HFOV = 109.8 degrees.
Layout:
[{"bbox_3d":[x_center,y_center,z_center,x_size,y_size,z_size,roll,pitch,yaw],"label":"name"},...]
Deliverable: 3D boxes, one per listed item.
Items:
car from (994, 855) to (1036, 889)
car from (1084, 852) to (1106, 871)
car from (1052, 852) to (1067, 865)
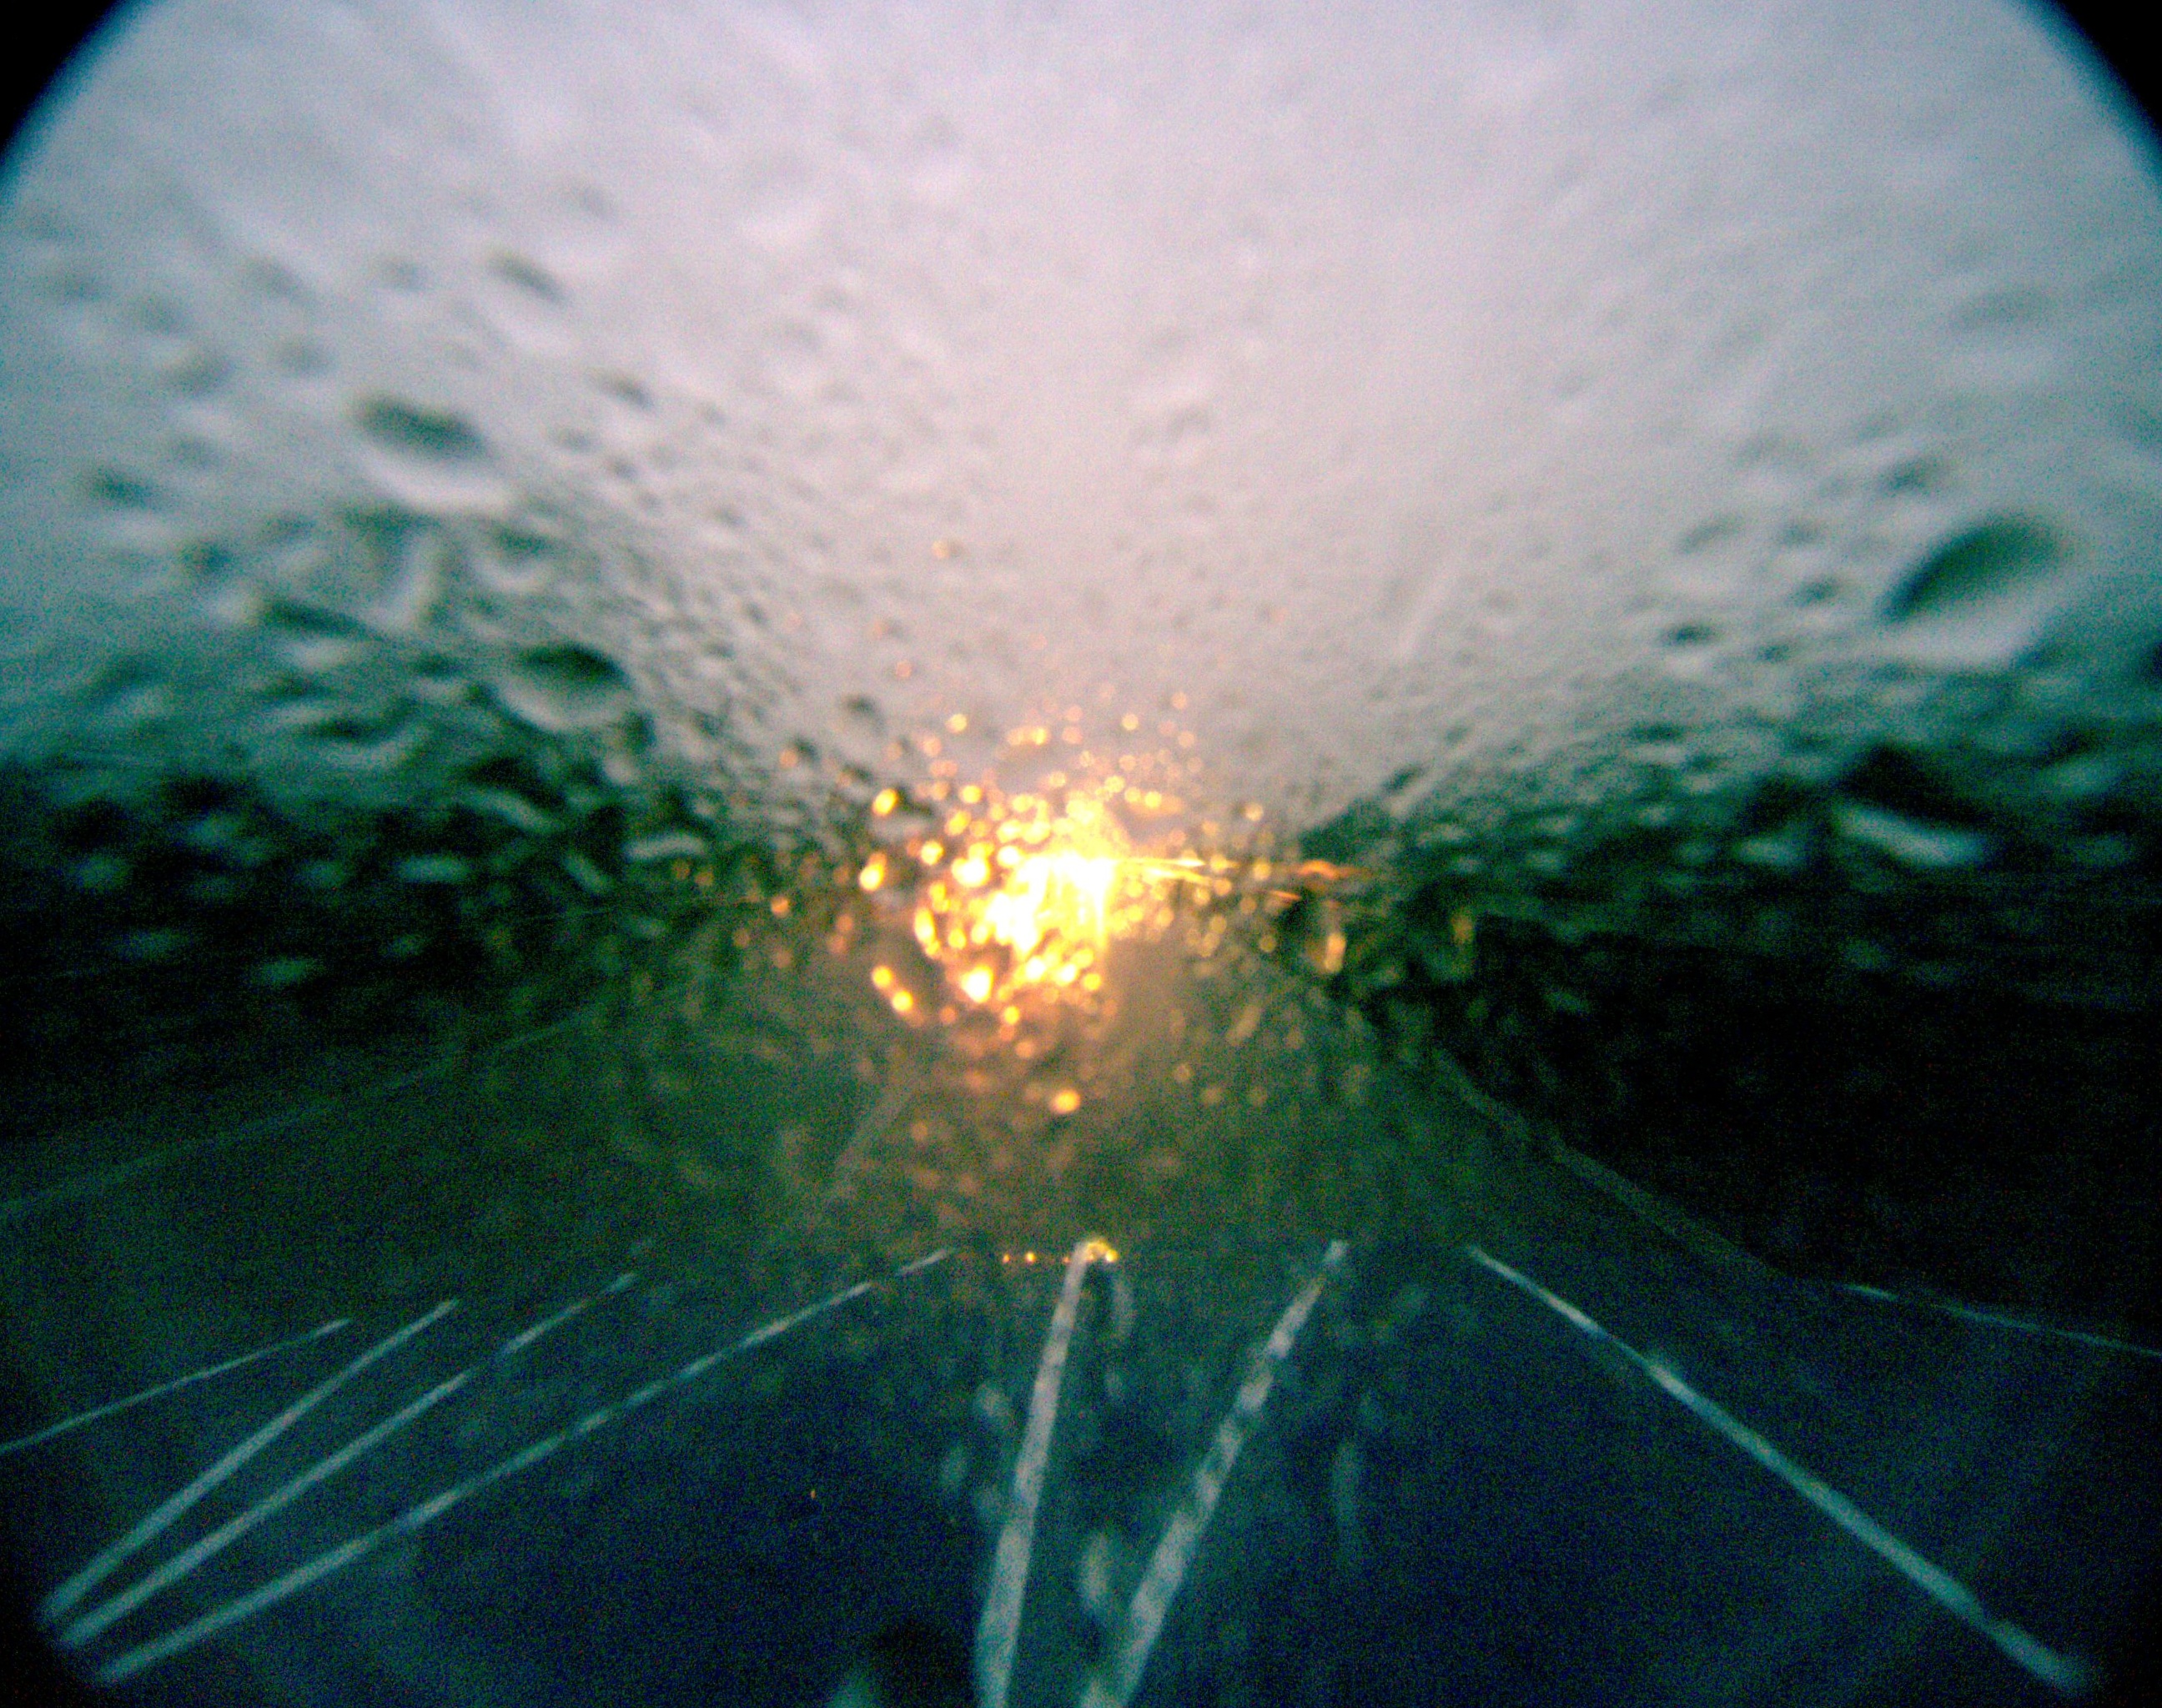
[{"bbox_3d":[-3.074,0.804,36.080,1.631,1.466,4.000,-1,0,0],"label":"car"},{"bbox_3d":[1.092,0.567,59.148,1.631,1.466,4.000,-1,0,0],"label":"car"},{"bbox_3d":[-2.563,0.566,89.779,1.631,1.466,4.000,-1,0,0],"label":"car"}]
